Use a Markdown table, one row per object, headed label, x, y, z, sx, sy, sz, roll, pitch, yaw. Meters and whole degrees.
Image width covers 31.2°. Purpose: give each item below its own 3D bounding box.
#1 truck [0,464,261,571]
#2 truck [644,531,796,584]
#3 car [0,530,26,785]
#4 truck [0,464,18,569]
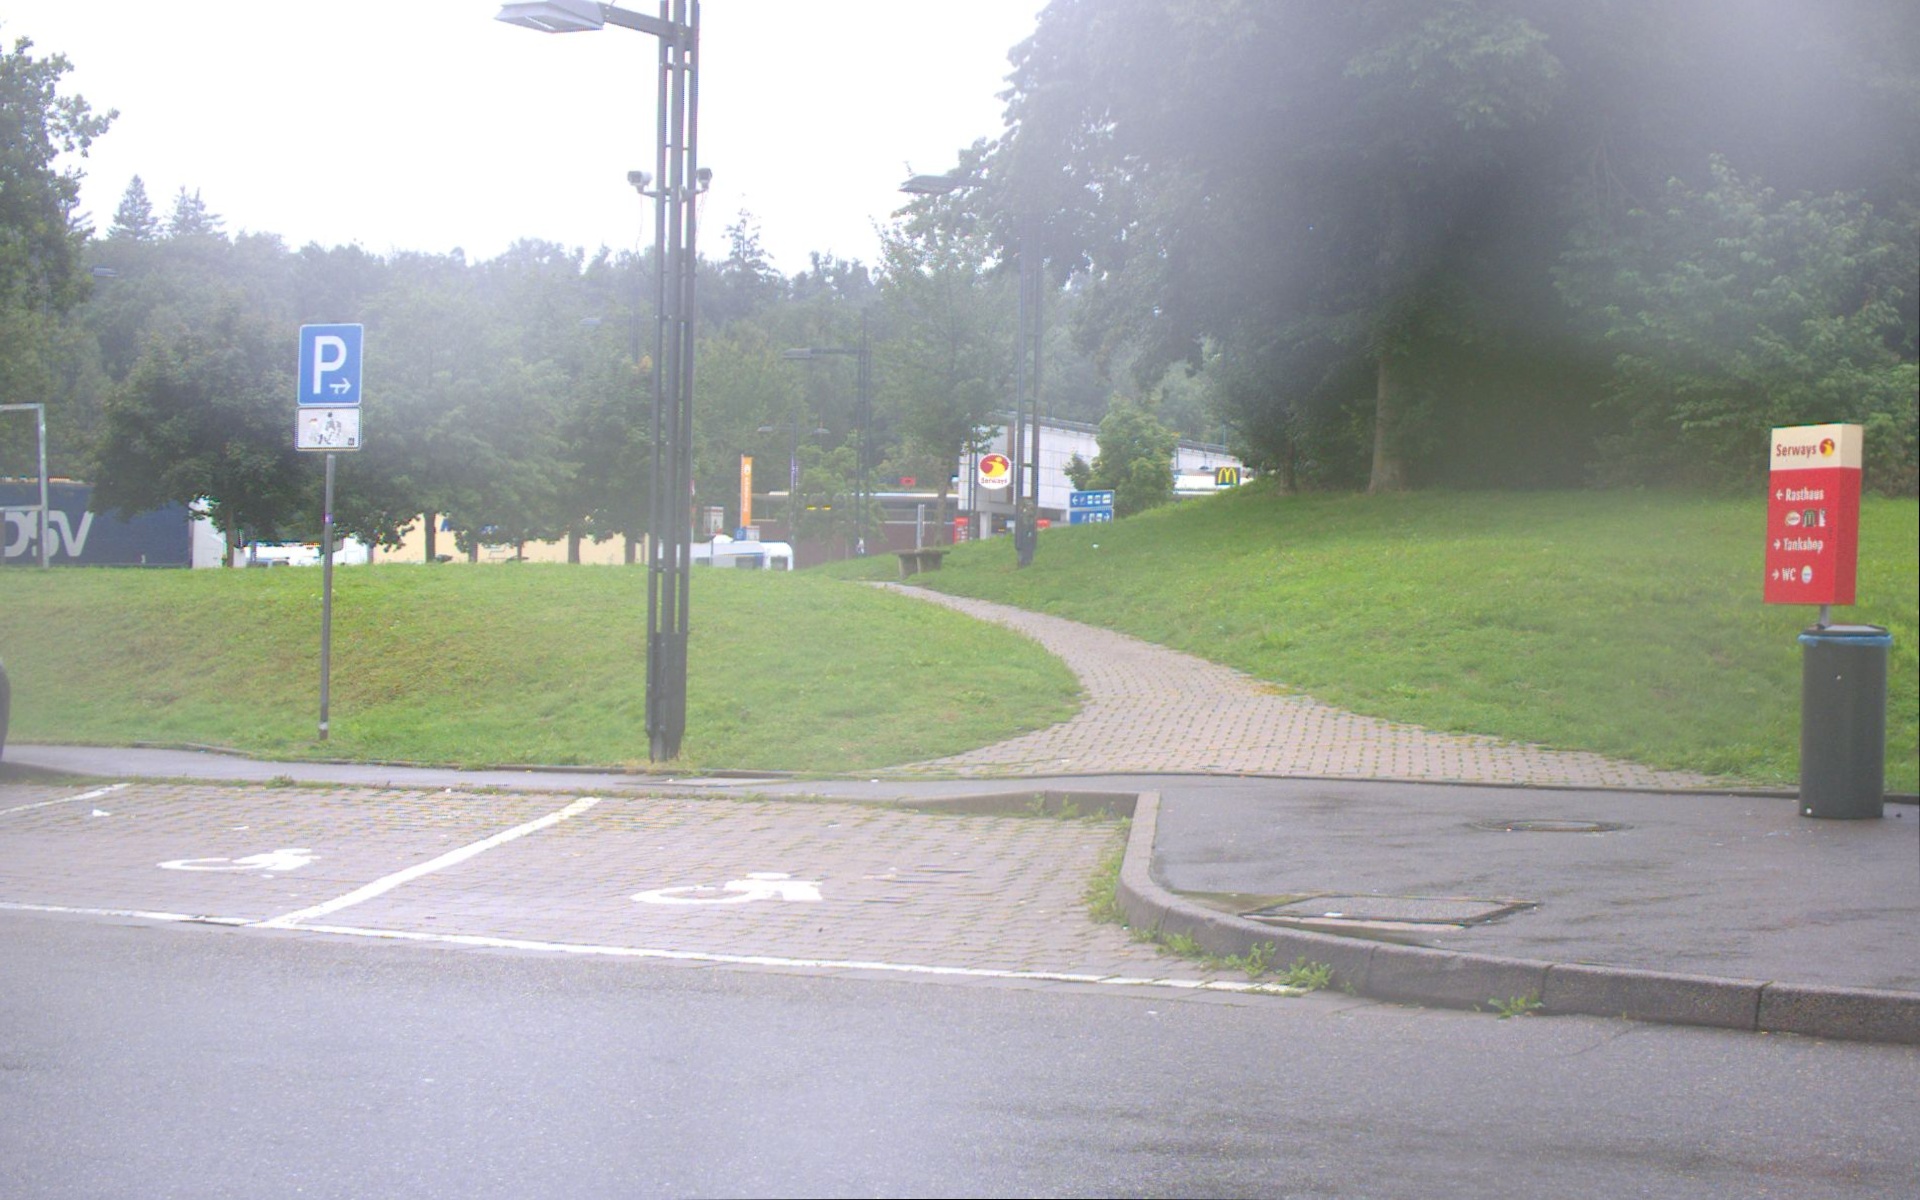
| label | x | y | z | sx | sy | sz | roll | pitch | yaw |
| --- | --- | --- | --- | --- | --- | --- | --- | --- | --- |
| truck | -25.468 | -2.367 | 101.628 | 2.188 | 2.910 | 13.082 | 1 | 1 | 24 |
| truck | -9.331 | -1.660 | 133.806 | 5.413 | 2.007 | 2.364 | 1 | 1 | 25 |
| car | -7.803 | 0.451 | 21.492 | 2.018 | 1.705 | 4.341 | -1 | 1 | 12 |
| truck | -28.606 | -2.342 | 94.658 | 2.189 | 2.910 | 5.380 | 1 | 1 | 24 |
